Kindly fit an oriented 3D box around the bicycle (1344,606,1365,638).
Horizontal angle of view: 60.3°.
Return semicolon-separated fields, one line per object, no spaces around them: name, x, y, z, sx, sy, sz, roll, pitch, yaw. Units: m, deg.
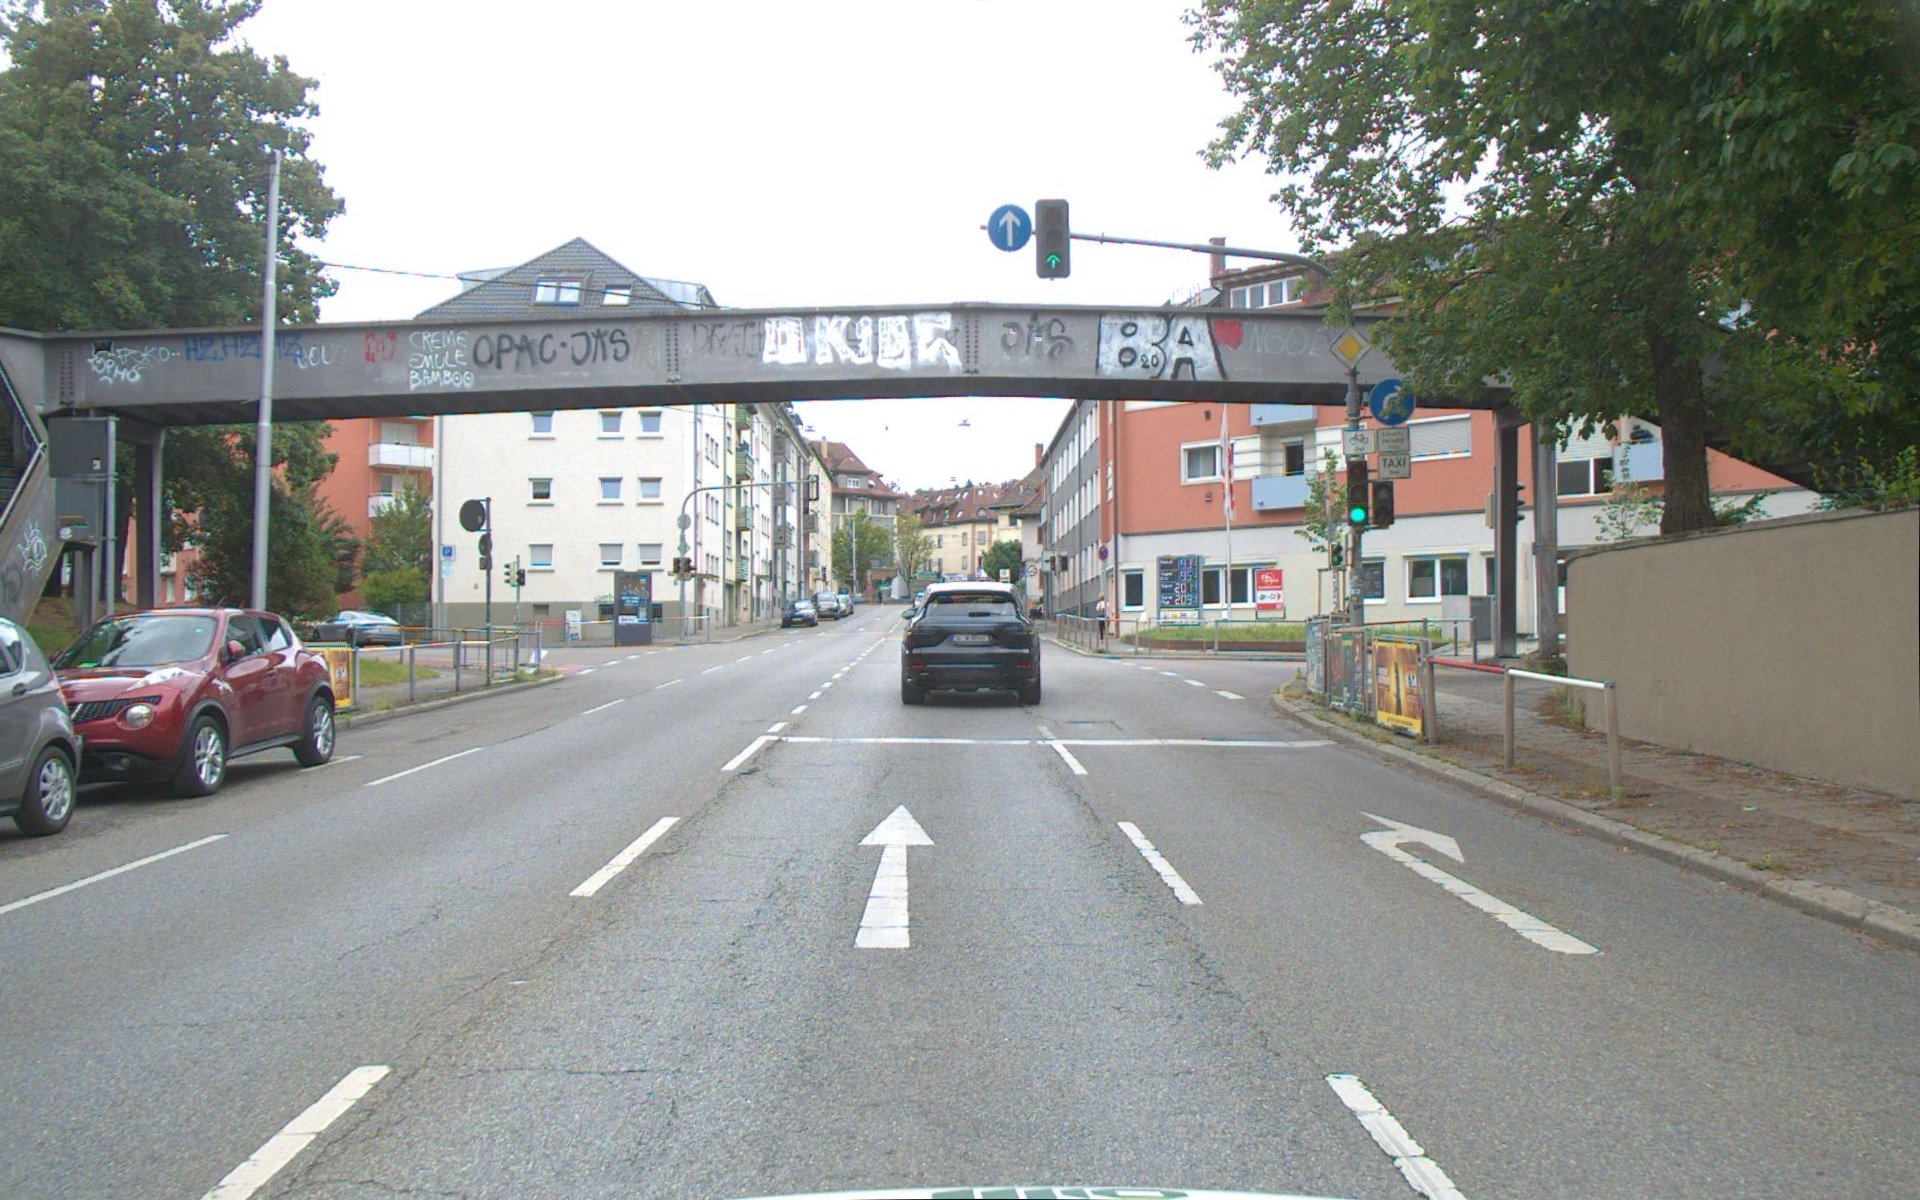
bicycle;11.428;0.624;47.907;0.333;0.919;1.743;0;0;22

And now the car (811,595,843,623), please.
car;-8.363;0.543;104.102;1.729;1.679;4.000;-1;0;0

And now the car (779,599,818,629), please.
car;-8.534;0.744;87.637;1.729;1.534;4.000;-1;0;0

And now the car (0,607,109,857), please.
car;-7.026;0.886;10.129;1.711;1.596;3.906;-2;0;-3

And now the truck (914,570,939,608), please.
truck;-3.124;-1.014;155.154;2.221;3.484;9.875;-1;0;-1

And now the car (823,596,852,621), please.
car;-8.351;0.552;113.196;1.729;1.679;4.000;-1;0;0

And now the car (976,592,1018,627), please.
car;1.587;0.396;72.204;1.706;1.424;4.000;0;1;-1

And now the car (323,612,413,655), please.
car;-22.561;1.252;62.931;1.794;1.536;3.935;-1;0;-44

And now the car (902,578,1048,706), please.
car;0.176;0.538;24.110;1.953;1.691;4.000;0;1;-1

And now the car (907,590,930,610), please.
car;-3.303;-0.031;132.490;1.729;1.534;4.000;-1;0;0

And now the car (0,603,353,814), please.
car;-6.917;0.850;14.835;1.502;1.567;3.981;-2;0;-1

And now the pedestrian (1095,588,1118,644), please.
pedestrian;4.846;0.523;54.793;0.639;1.823;0.714;0;0;-3

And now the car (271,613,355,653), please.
car;-26.172;1.296;66.871;1.794;1.536;3.935;-1;0;-44
